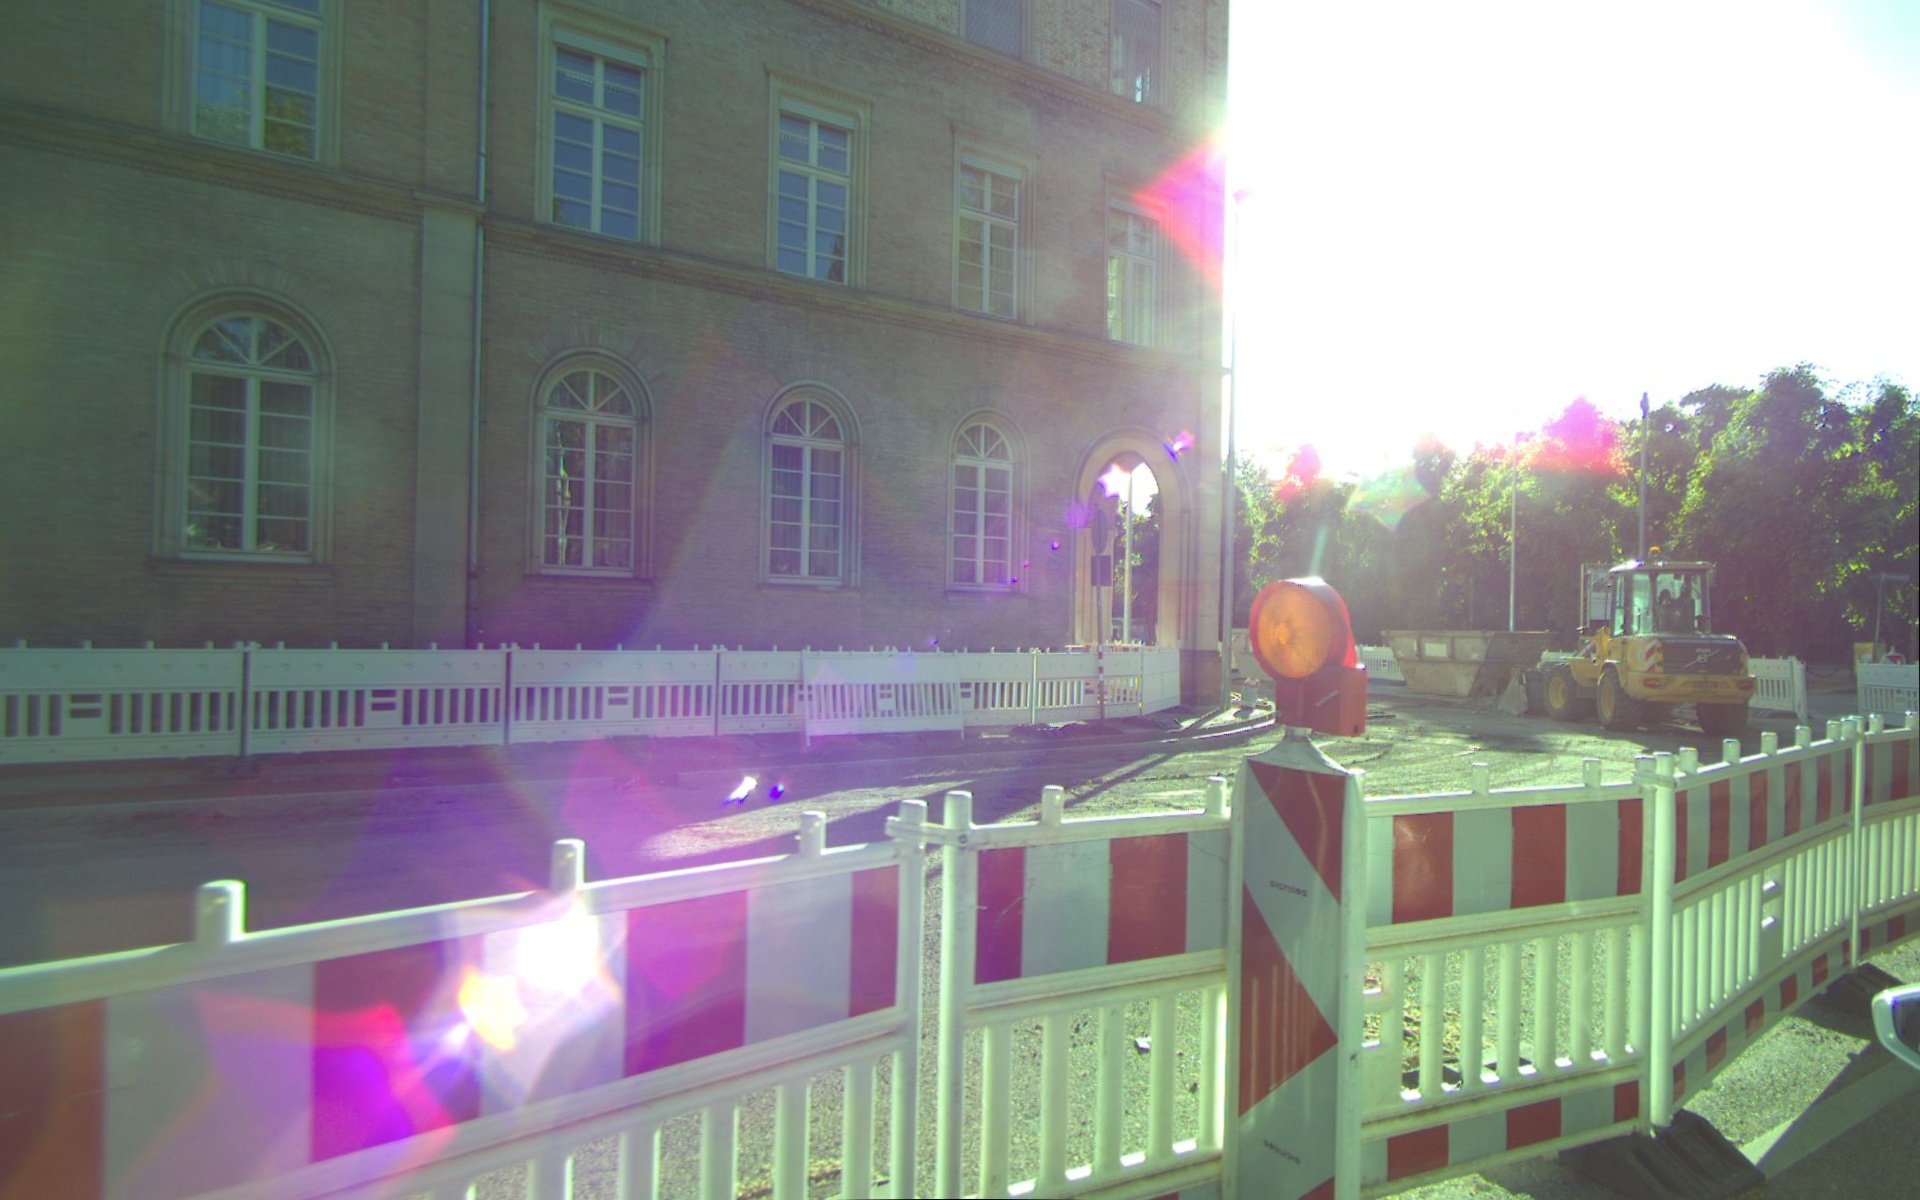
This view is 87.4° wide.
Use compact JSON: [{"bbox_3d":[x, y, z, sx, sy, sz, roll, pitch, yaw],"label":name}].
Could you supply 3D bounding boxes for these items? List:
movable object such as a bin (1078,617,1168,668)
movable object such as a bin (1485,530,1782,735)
[{"bbox_3d":[6.791,1.743,42.377,2.024,1.975,4.318,2,-1,-17],"label":"movable object such as a bin"},{"bbox_3d":[11.741,0.595,18.224,2.515,3.071,5.936,0,-2,13],"label":"movable object such as a bin"}]
